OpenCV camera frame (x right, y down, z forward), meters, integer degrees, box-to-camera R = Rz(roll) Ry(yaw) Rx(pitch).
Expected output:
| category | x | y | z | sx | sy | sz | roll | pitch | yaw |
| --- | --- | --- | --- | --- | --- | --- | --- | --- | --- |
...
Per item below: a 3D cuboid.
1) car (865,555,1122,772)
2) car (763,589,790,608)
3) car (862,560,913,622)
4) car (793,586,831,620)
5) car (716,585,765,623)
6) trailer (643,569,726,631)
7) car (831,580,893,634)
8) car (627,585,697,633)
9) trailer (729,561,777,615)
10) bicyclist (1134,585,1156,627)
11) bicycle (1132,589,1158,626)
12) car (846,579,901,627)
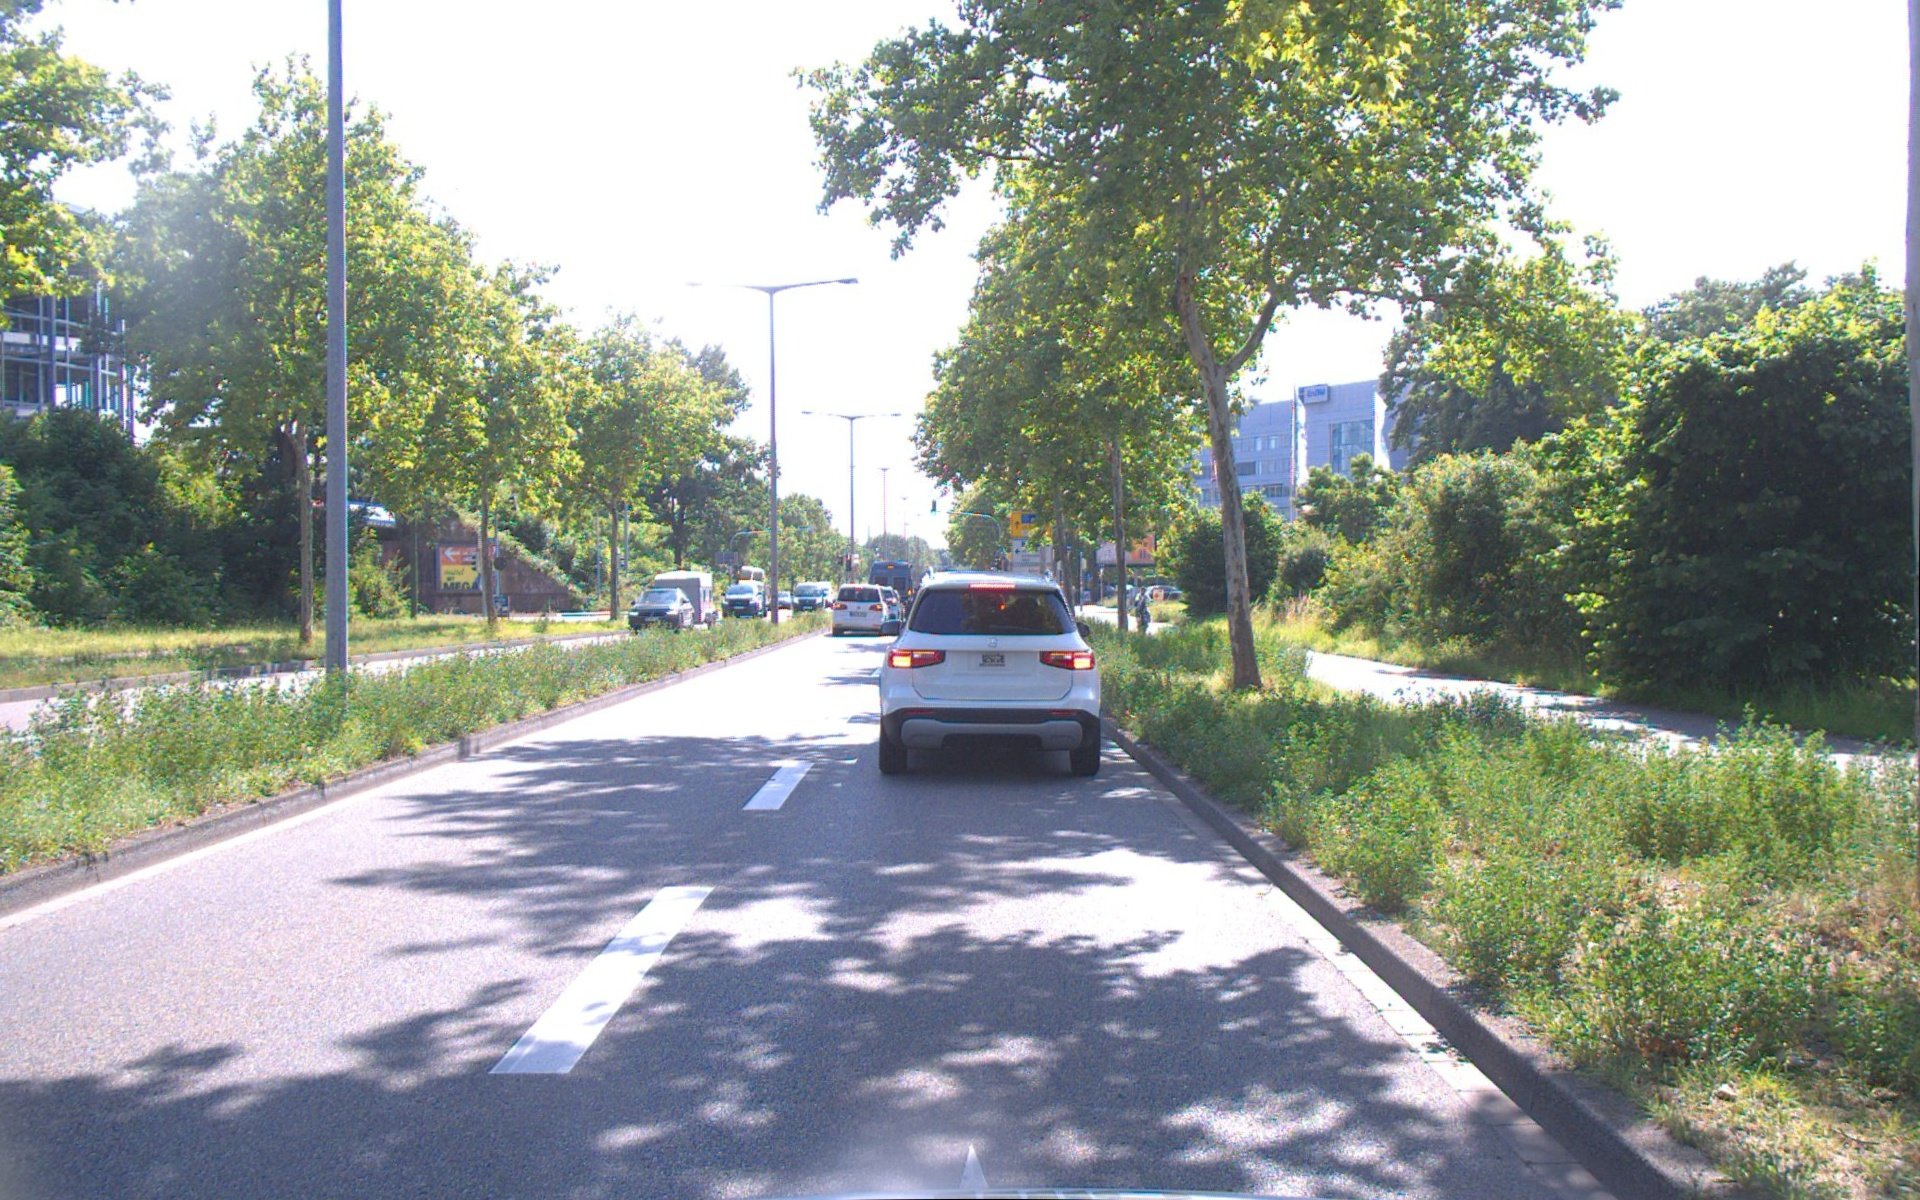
| category | x | y | z | sx | sy | sz | roll | pitch | yaw |
| --- | --- | --- | --- | --- | --- | --- | --- | --- | --- |
| car | 0.148 | 0.463 | 14.565 | 1.818 | 1.635 | 3.995 | 0 | 0 | -6 |
| car | -13.760 | -0.134 | 124.351 | 1.666 | 1.388 | 3.645 | 0 | 0 | -1 |
| car | -3.308 | -0.410 | 76.210 | 2.039 | 2.703 | 4.874 | 1 | 0 | 0 |
| car | -8.317 | 0.169 | 93.204 | 1.695 | 1.841 | 4.232 | 1 | 0 | 0 |
| car | -11.125 | 0.169 | 84.168 | 1.728 | 1.821 | 5.376 | 1 | 0 | 0 |
| trailer | -10.570 | -0.011 | 63.892 | 2.261 | 2.305 | 5.538 | 0 | 0 | 0 |
| car | -3.182 | 0.204 | 54.195 | 1.735 | 1.676 | 4.352 | 0 | 0 | 0 |
| car | -10.563 | 0.296 | 58.941 | 1.680 | 1.650 | 4.361 | 0 | 0 | 0 |
| trailer | -11.073 | -0.640 | 88.659 | 1.841 | 2.792 | 4.829 | 1 | 0 | 0 |
| bicyclist | 6.734 | 0.229 | 60.227 | 0.689 | 1.503 | 1.010 | 1 | 0 | 0 |
| bicycle | 6.716 | 0.265 | 60.231 | 0.708 | 1.321 | 2.095 | 1 | 0 | 0 |
| car | -3.115 | 0.087 | 60.148 | 1.735 | 1.676 | 4.084 | 0 | 0 | 0 |
